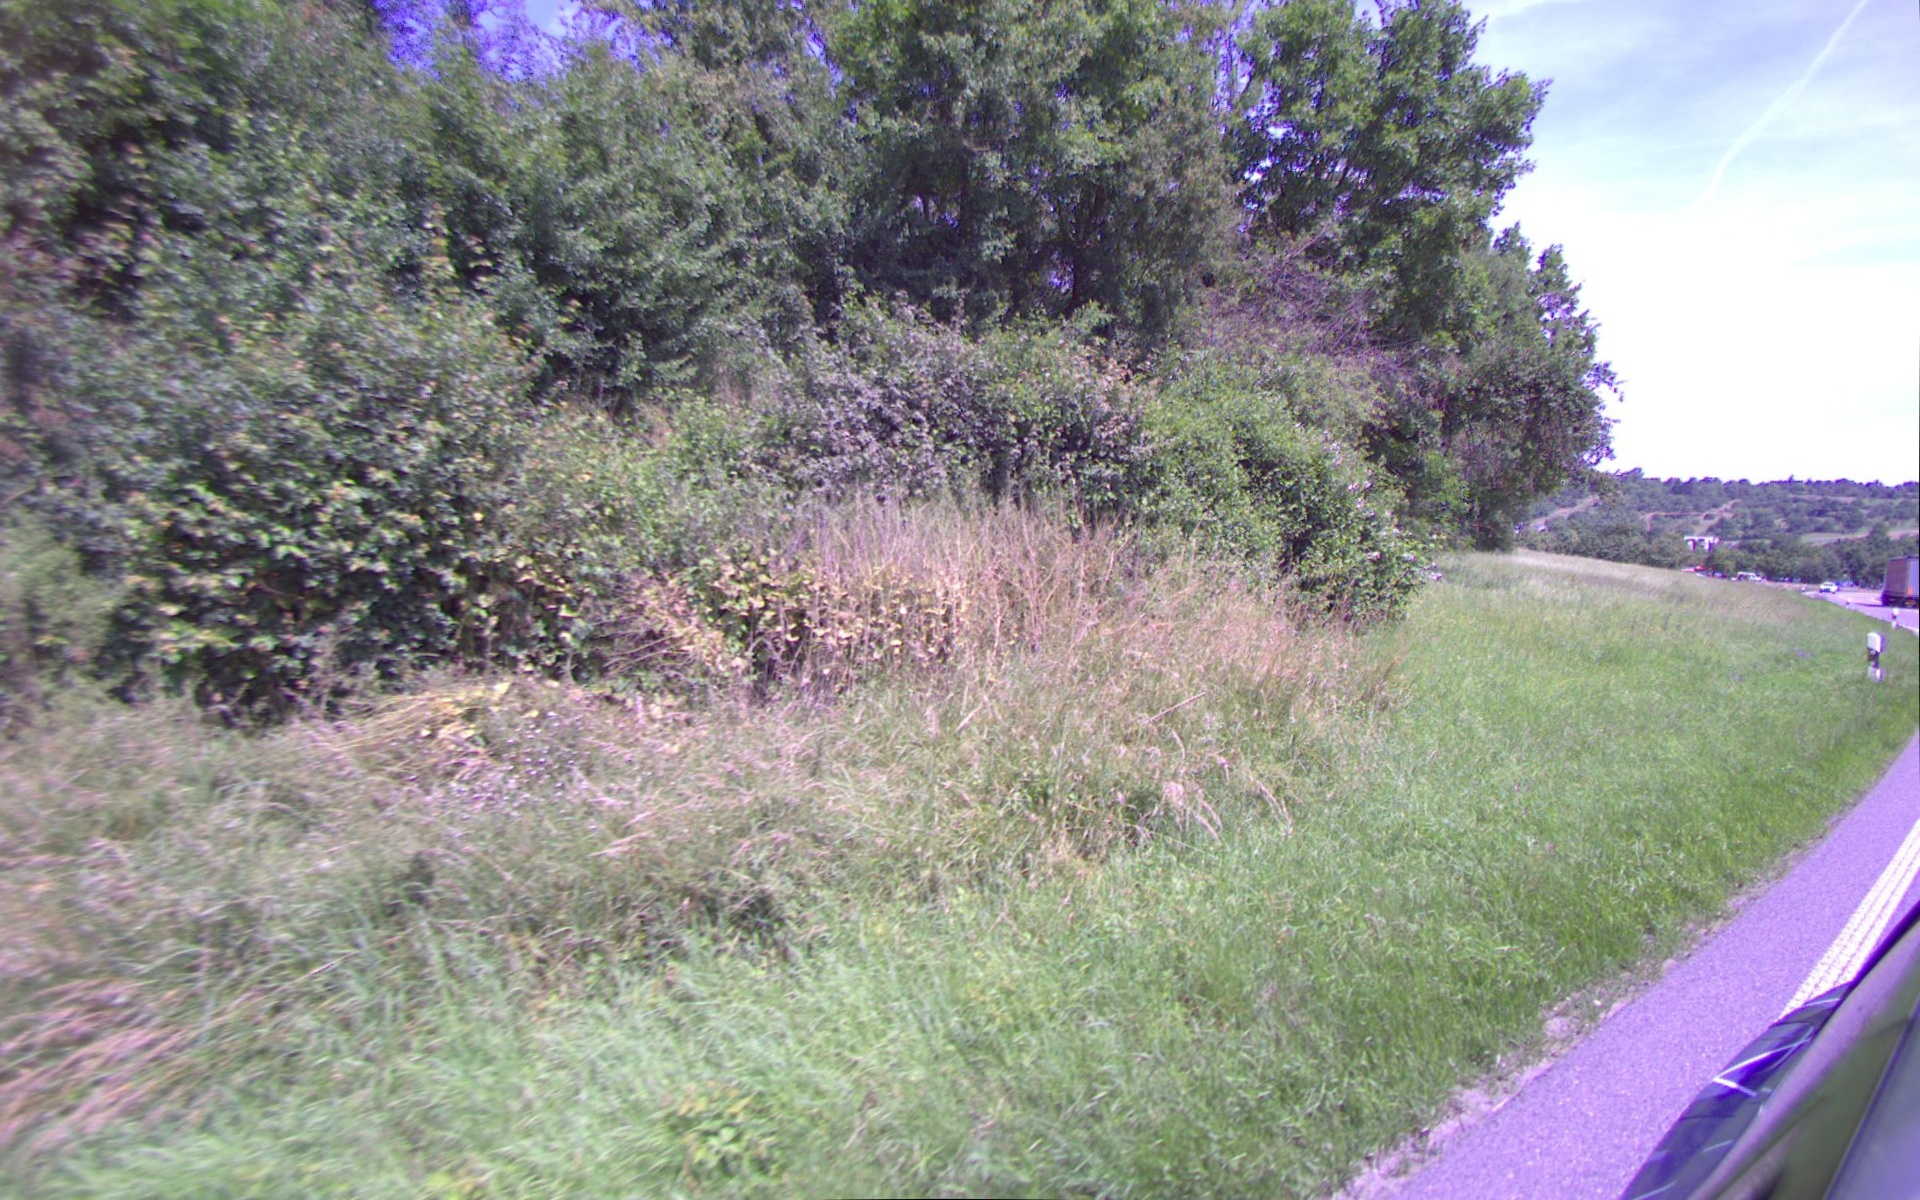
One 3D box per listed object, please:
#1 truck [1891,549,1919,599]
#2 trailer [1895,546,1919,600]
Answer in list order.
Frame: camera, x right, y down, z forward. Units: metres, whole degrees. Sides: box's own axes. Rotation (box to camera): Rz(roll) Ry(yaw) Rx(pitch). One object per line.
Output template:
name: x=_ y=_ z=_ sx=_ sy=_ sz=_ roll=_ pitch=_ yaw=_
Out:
truck: x=82.884 y=-2.229 z=87.726 sx=2.554 sy=4.166 sz=5.721 roll=2 pitch=2 yaw=38
trailer: x=78.561 y=-2.144 z=82.105 sx=2.563 sy=4.159 sz=13.477 roll=2 pitch=2 yaw=37
